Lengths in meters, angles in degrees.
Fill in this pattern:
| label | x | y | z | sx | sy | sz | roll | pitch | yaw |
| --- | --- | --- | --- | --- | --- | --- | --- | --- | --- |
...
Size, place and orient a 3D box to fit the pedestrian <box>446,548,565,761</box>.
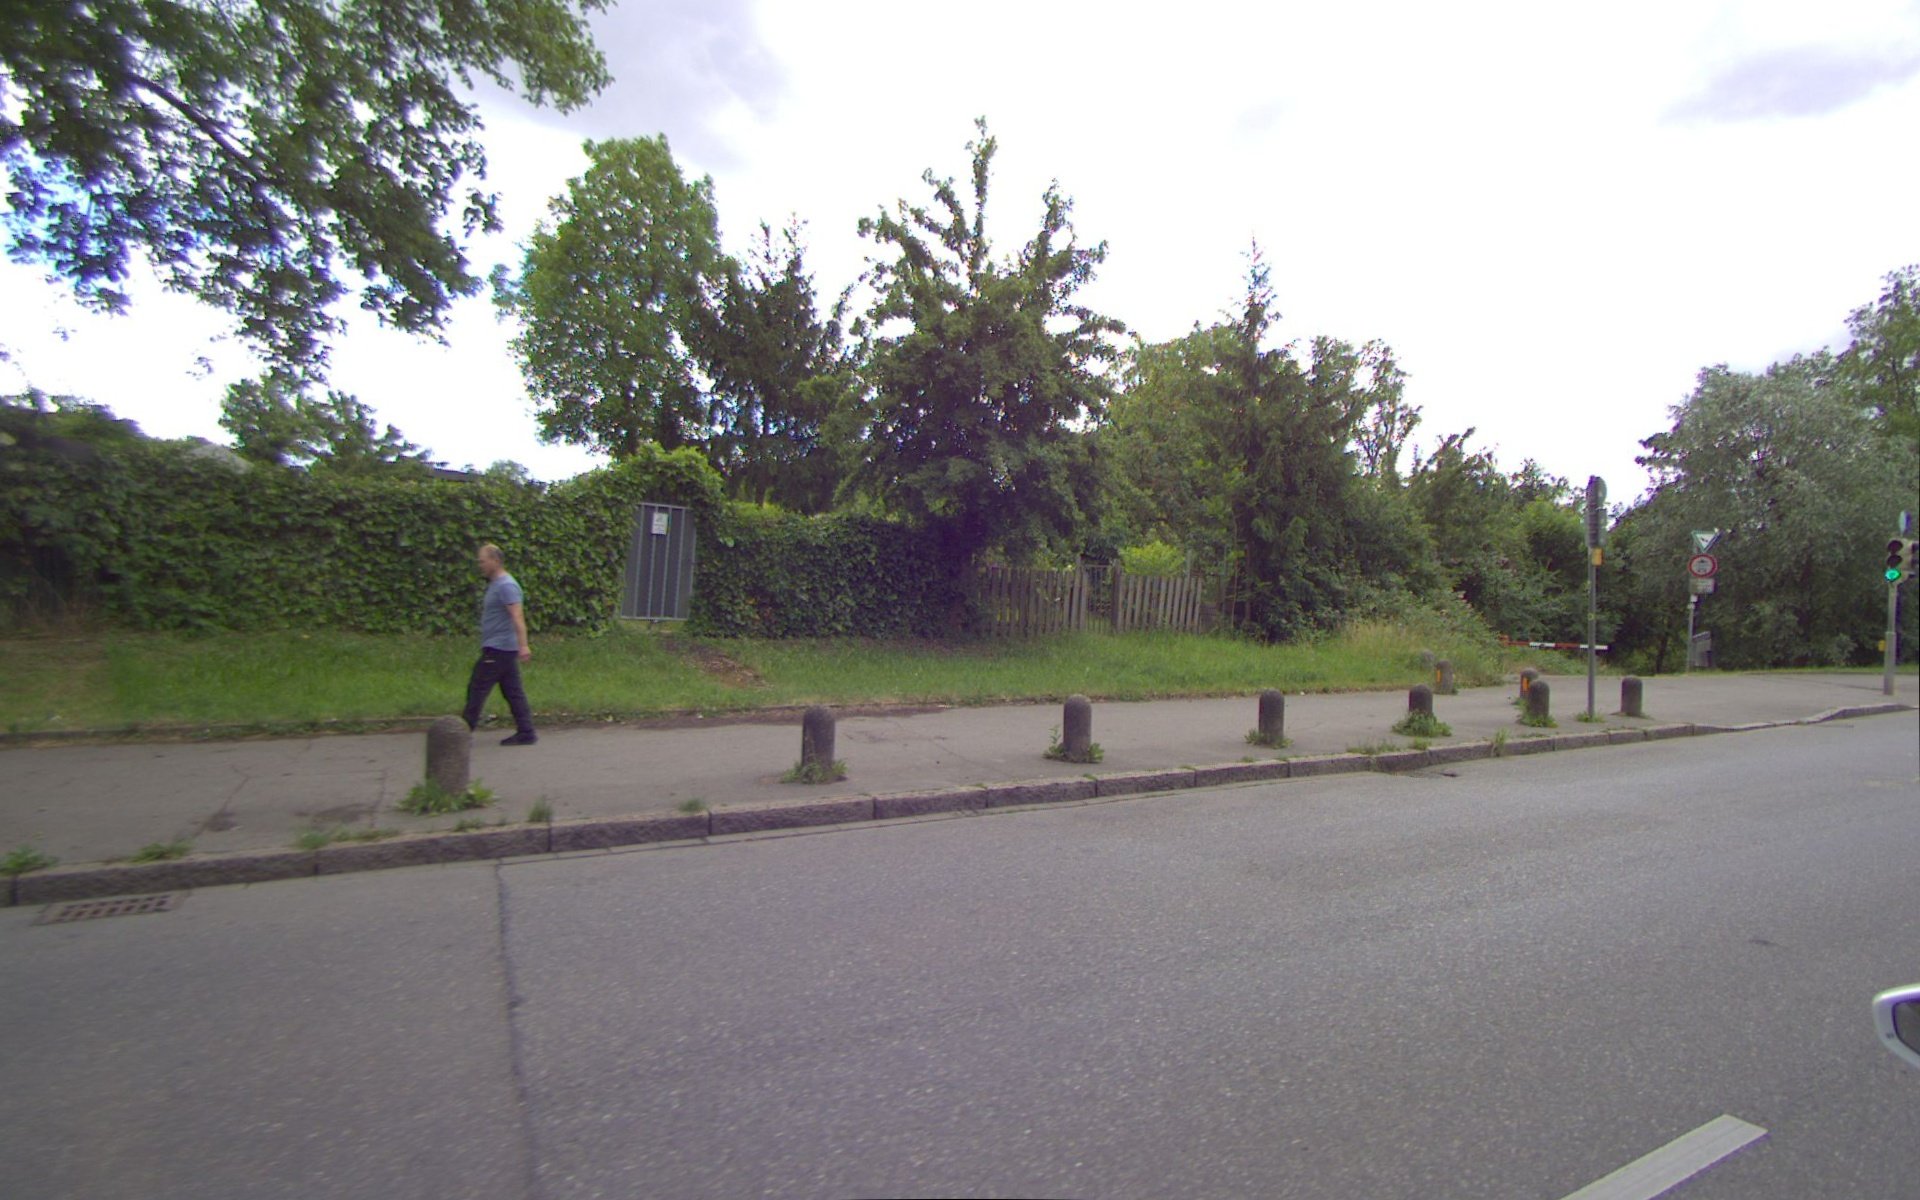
| label | x | y | z | sx | sy | sz | roll | pitch | yaw |
| --- | --- | --- | --- | --- | --- | --- | --- | --- | --- |
| pedestrian | -3.766 | 0.418 | 8.307 | 0.828 | 1.656 | 0.686 | 1 | 3 | -29 |
